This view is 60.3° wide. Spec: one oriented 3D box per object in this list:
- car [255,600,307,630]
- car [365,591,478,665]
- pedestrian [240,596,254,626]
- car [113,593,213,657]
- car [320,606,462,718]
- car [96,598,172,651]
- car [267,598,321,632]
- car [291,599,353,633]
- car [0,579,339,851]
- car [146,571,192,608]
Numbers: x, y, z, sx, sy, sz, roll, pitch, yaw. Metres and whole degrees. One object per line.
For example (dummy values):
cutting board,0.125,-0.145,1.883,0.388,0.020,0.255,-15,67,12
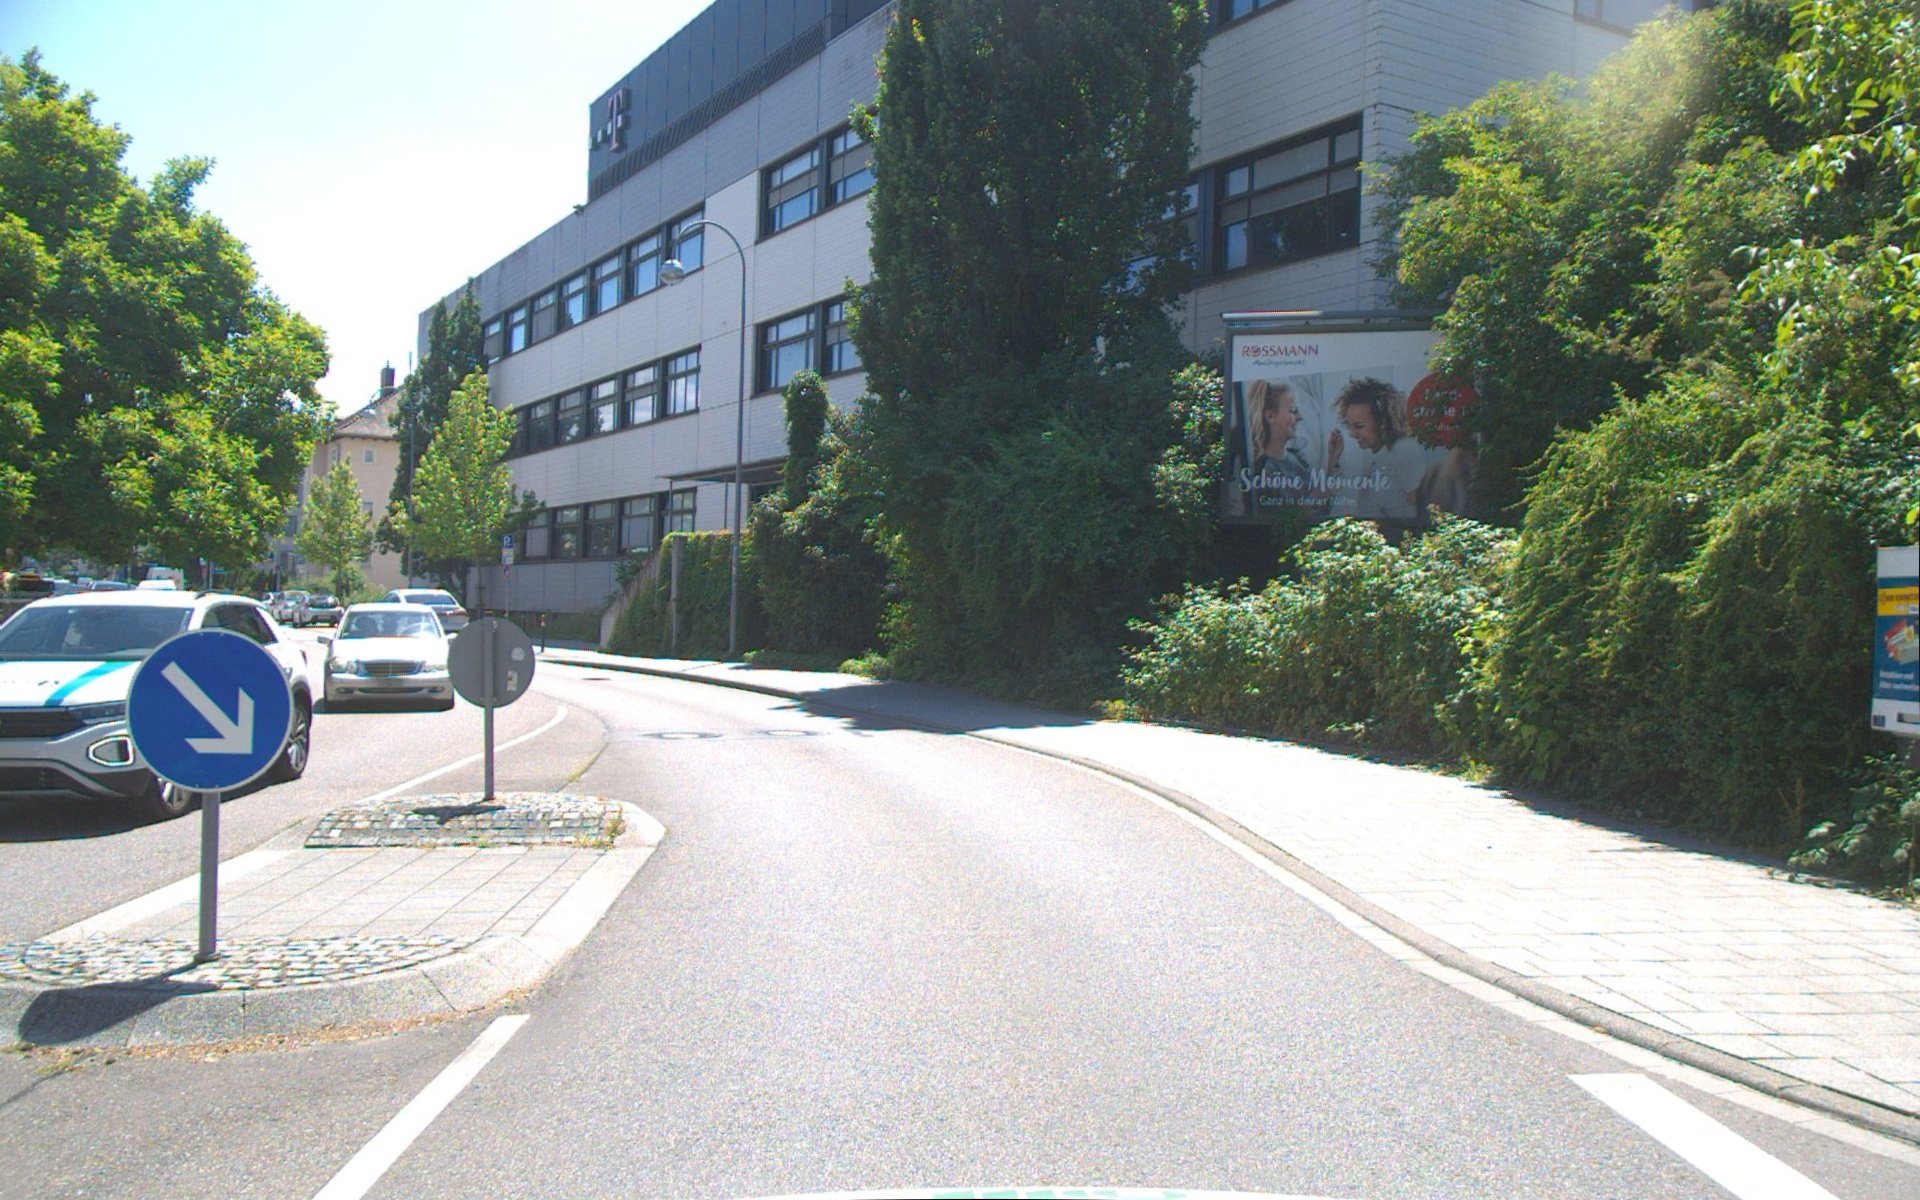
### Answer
car,-33.211,0.714,80.882,1.709,1.407,4.355,0,0,-31
car,-13.874,0.668,42.456,1.915,1.642,4.429,-5,3,-28
pedestrian,-42.813,0.638,99.282,0.632,1.789,0.609,2,-1,-36
car,-20.744,0.611,42.944,1.906,1.462,4.611,5,-2,-30
car,-8.184,0.819,24.076,1.730,1.460,4.284,0,0,-16
car,-27.766,0.789,55.508,1.906,1.600,4.611,5,-2,-30
car,-30.936,0.685,76.758,1.642,1.514,4.299,0,0,-31
car,-27.734,0.699,71.831,1.843,1.397,3.958,2,-1,-31
car,-6.272,0.702,12.506,1.836,1.651,4.299,2,1,-6
car,-49.284,-0.659,102.974,2.050,2.235,5.081,0,0,-32
